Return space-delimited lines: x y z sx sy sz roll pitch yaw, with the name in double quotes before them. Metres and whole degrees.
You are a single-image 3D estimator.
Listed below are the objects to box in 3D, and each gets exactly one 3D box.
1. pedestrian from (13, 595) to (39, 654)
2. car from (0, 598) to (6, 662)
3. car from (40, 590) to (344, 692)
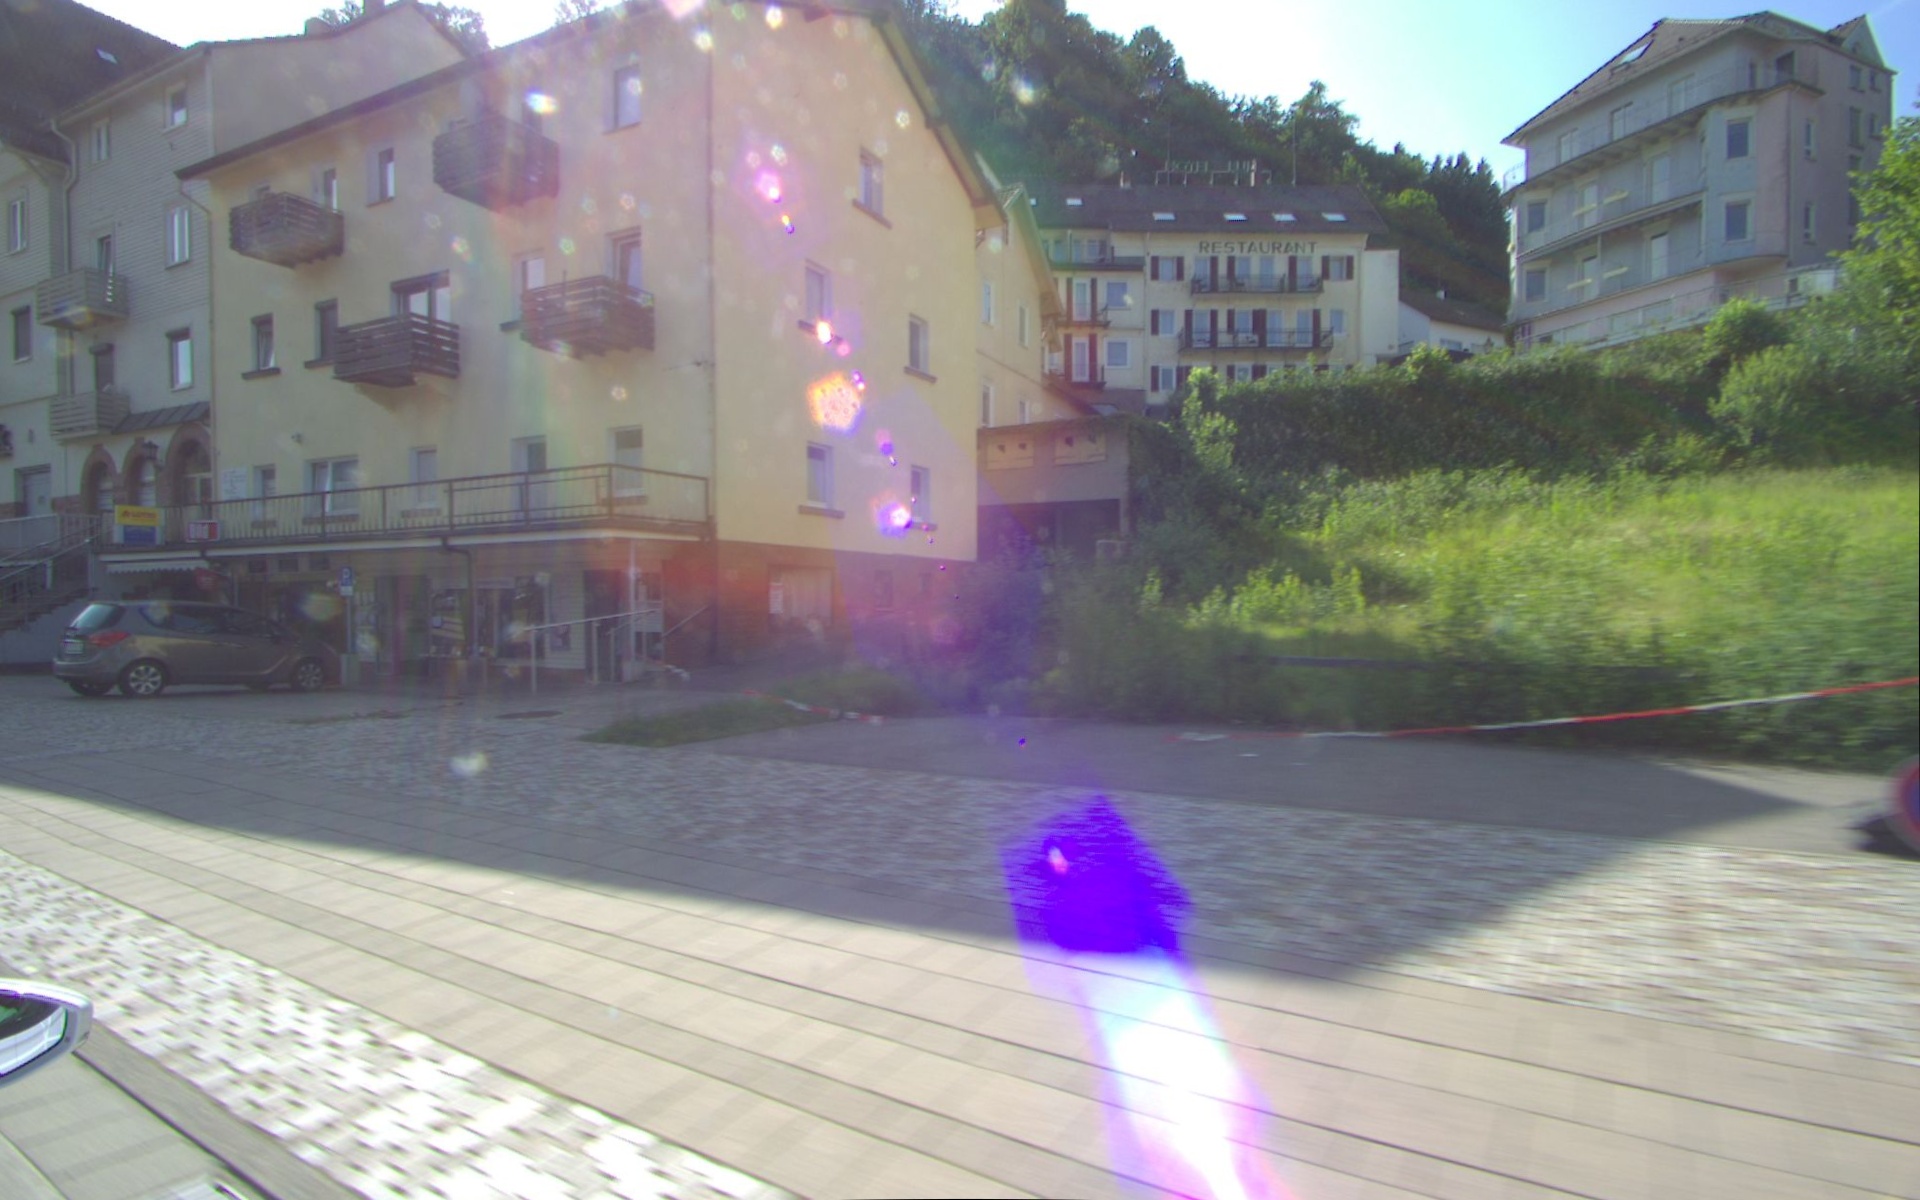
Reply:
"pedestrian" -26.994 0.698 28.936 0.429 1.681 0.410 1 3 36
"car" -25.547 0.647 23.720 1.747 1.609 3.908 1 -2 29
"car" -13.300 0.722 17.611 1.732 1.574 3.861 0 -2 26
